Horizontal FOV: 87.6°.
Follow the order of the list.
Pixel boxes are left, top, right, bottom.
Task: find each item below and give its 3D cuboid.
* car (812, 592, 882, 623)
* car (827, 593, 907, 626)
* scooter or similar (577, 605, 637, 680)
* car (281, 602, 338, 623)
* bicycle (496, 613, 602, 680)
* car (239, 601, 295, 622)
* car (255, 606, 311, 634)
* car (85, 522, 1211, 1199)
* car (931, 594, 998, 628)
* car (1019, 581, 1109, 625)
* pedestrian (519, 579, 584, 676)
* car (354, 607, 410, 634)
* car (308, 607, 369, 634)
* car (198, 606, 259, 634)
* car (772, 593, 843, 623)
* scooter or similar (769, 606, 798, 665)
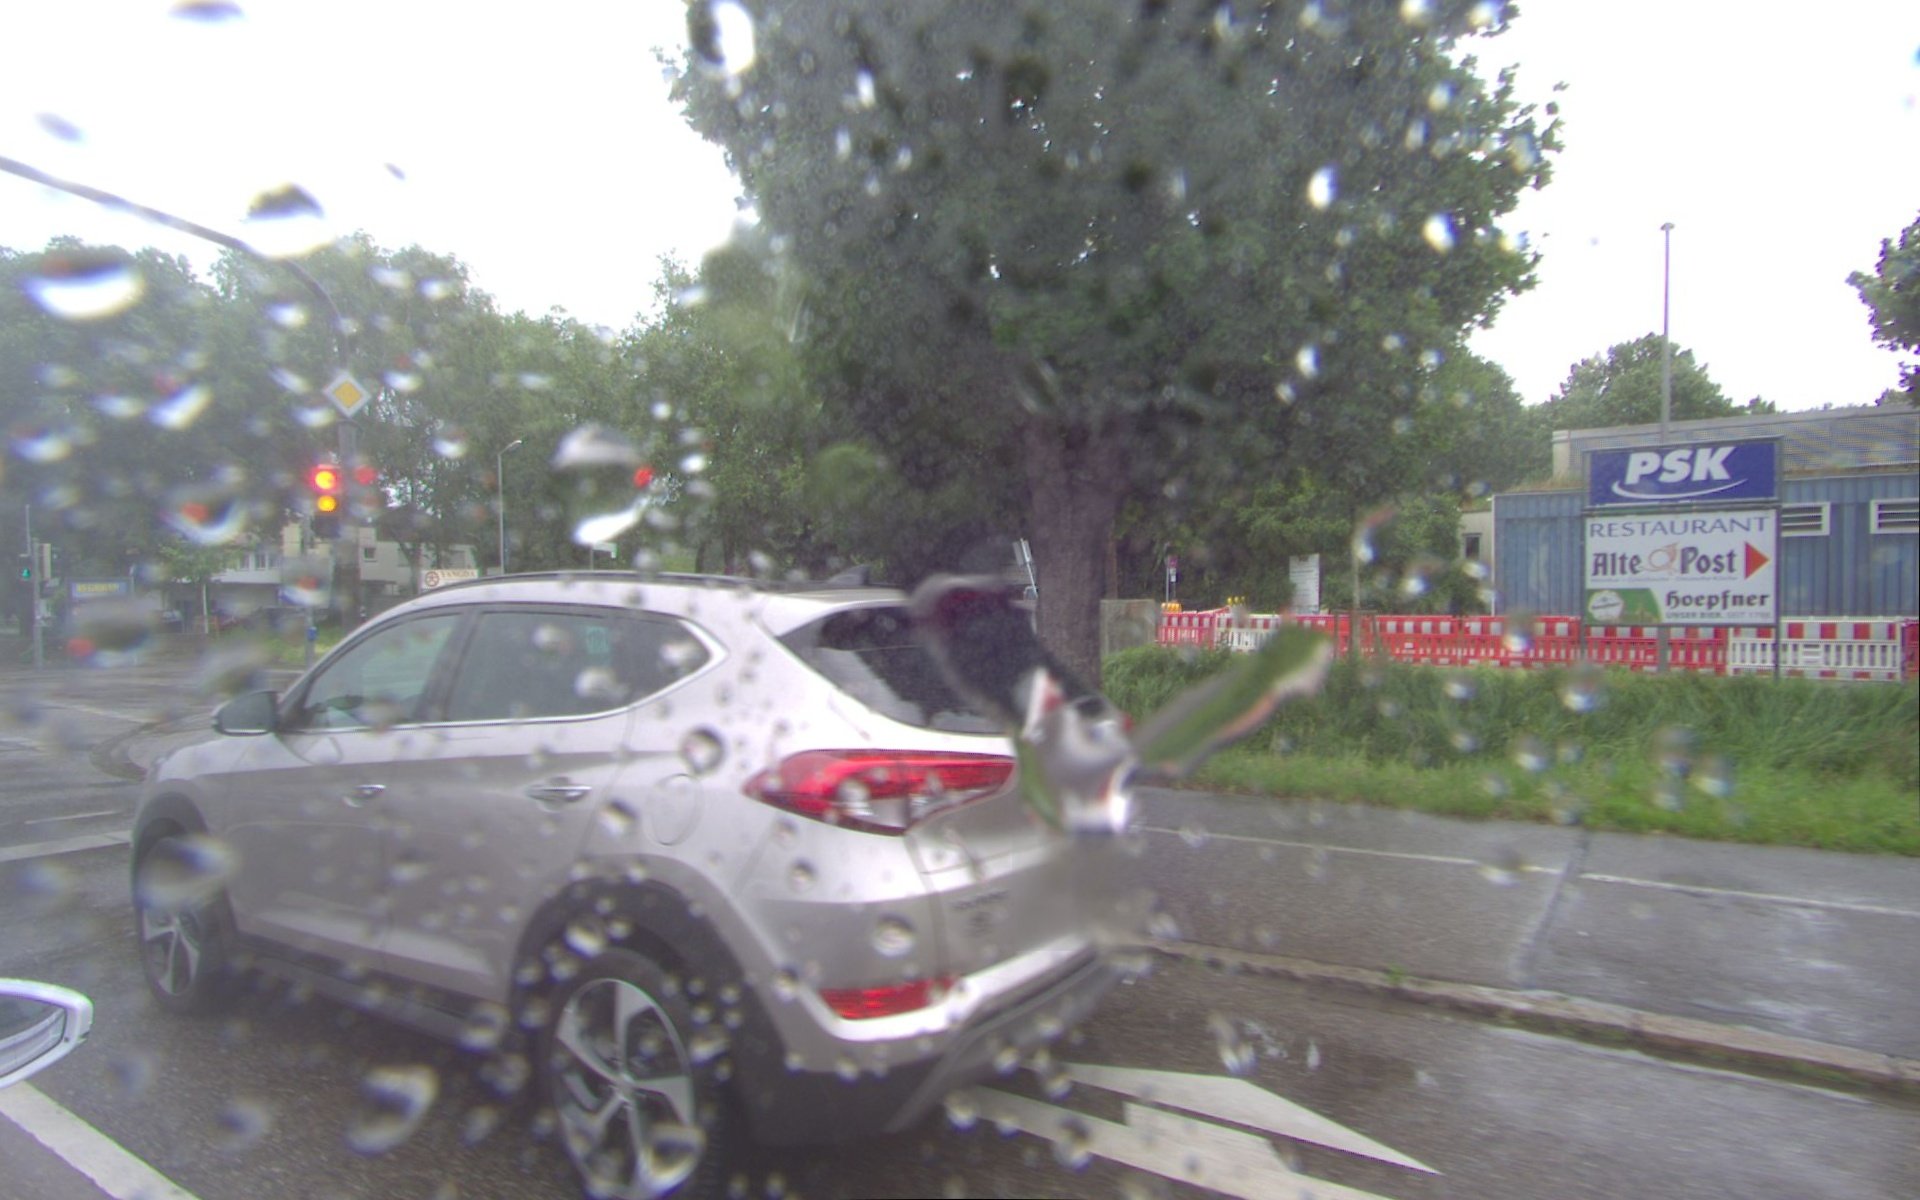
[{"bbox_3d":[-6.263,0.468,55.938,1.894,1.603,4.590,-1,-2,23],"label":"car"},{"bbox_3d":[-4.912,0.537,53.518,1.898,1.651,4.580,-1,-2,31],"label":"car"},{"bbox_3d":[-6.051,0.716,17.196,0.317,1.246,0.954,0,1,36],"label":"scooter or similar"},{"bbox_3d":[-44.315,0.862,68.210,3.939,1.403,1.582,-1,-2,29],"label":"car"},{"bbox_3d":[-7.497,0.823,18.331,0.776,1.053,1.658,-1,4,24],"label":"bicycle"},{"bbox_3d":[-45.561,0.762,65.824,3.645,1.333,1.571,-1,-1,29],"label":"car"},{"bbox_3d":[-37.506,1.147,55.551,1.641,1.467,3.744,0,-2,-19],"label":"car"},{"bbox_3d":[-1.362,0.733,3.817,4.136,1.631,1.881,-1,-2,32],"label":"car"},{"bbox_3d":[0.251,0.599,50.948,1.697,1.617,3.649,-1,-2,34],"label":"car"},{"bbox_3d":[5.036,0.206,48.073,4.145,1.990,1.912,1,-2,-38],"label":"car"},{"bbox_3d":[-7.485,0.497,18.368,0.776,1.702,0.666,-1,4,24],"label":"pedestrian"},{"bbox_3d":[-32.603,1.178,56.550,1.573,1.467,3.751,0,-2,-11],"label":"car"},{"bbox_3d":[-34.640,1.158,55.909,1.638,1.467,3.751,0,-2,-11],"label":"car"},{"bbox_3d":[-39.669,1.109,54.389,1.641,1.467,3.744,0,-2,-19],"label":"car"},{"bbox_3d":[-8.666,0.513,57.238,1.894,1.603,4.590,-1,-2,23],"label":"car"},{"bbox_3d":[-3.582,0.714,20.303,0.553,1.192,0.284,0,1,39],"label":"scooter or similar"}]
